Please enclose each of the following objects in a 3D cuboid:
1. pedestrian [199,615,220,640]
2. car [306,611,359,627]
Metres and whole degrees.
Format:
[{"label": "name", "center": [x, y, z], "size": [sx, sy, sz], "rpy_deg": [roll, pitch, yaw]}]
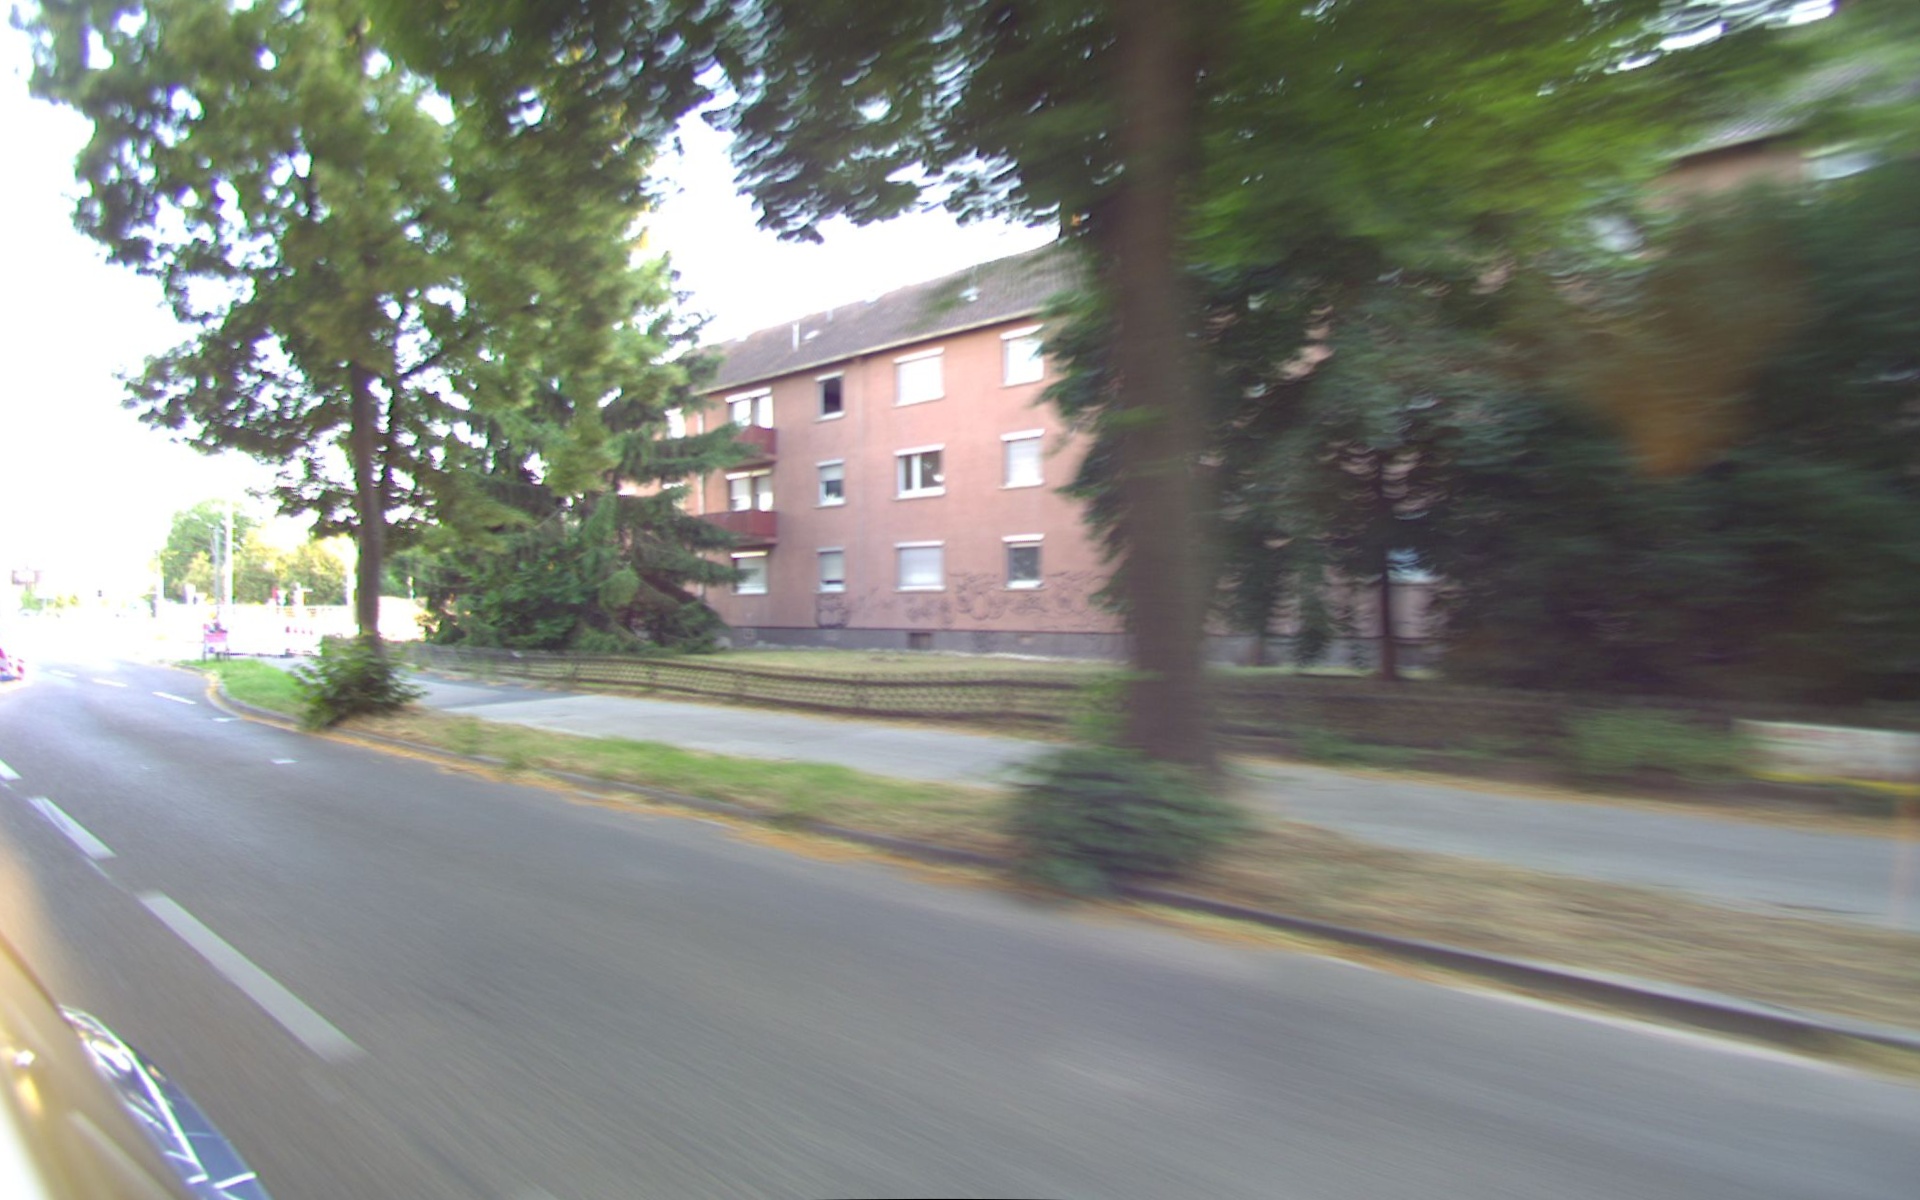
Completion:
[{"label": "pedestrian", "center": [-51.812, 1.930, 69.845], "size": [0.784, 1.708, 0.917], "rpy_deg": [0, -2, 29]}, {"label": "car", "center": [-58.099, 1.739, 93.749], "size": [1.624, 1.475, 3.963], "rpy_deg": [0, -1, 27]}]
